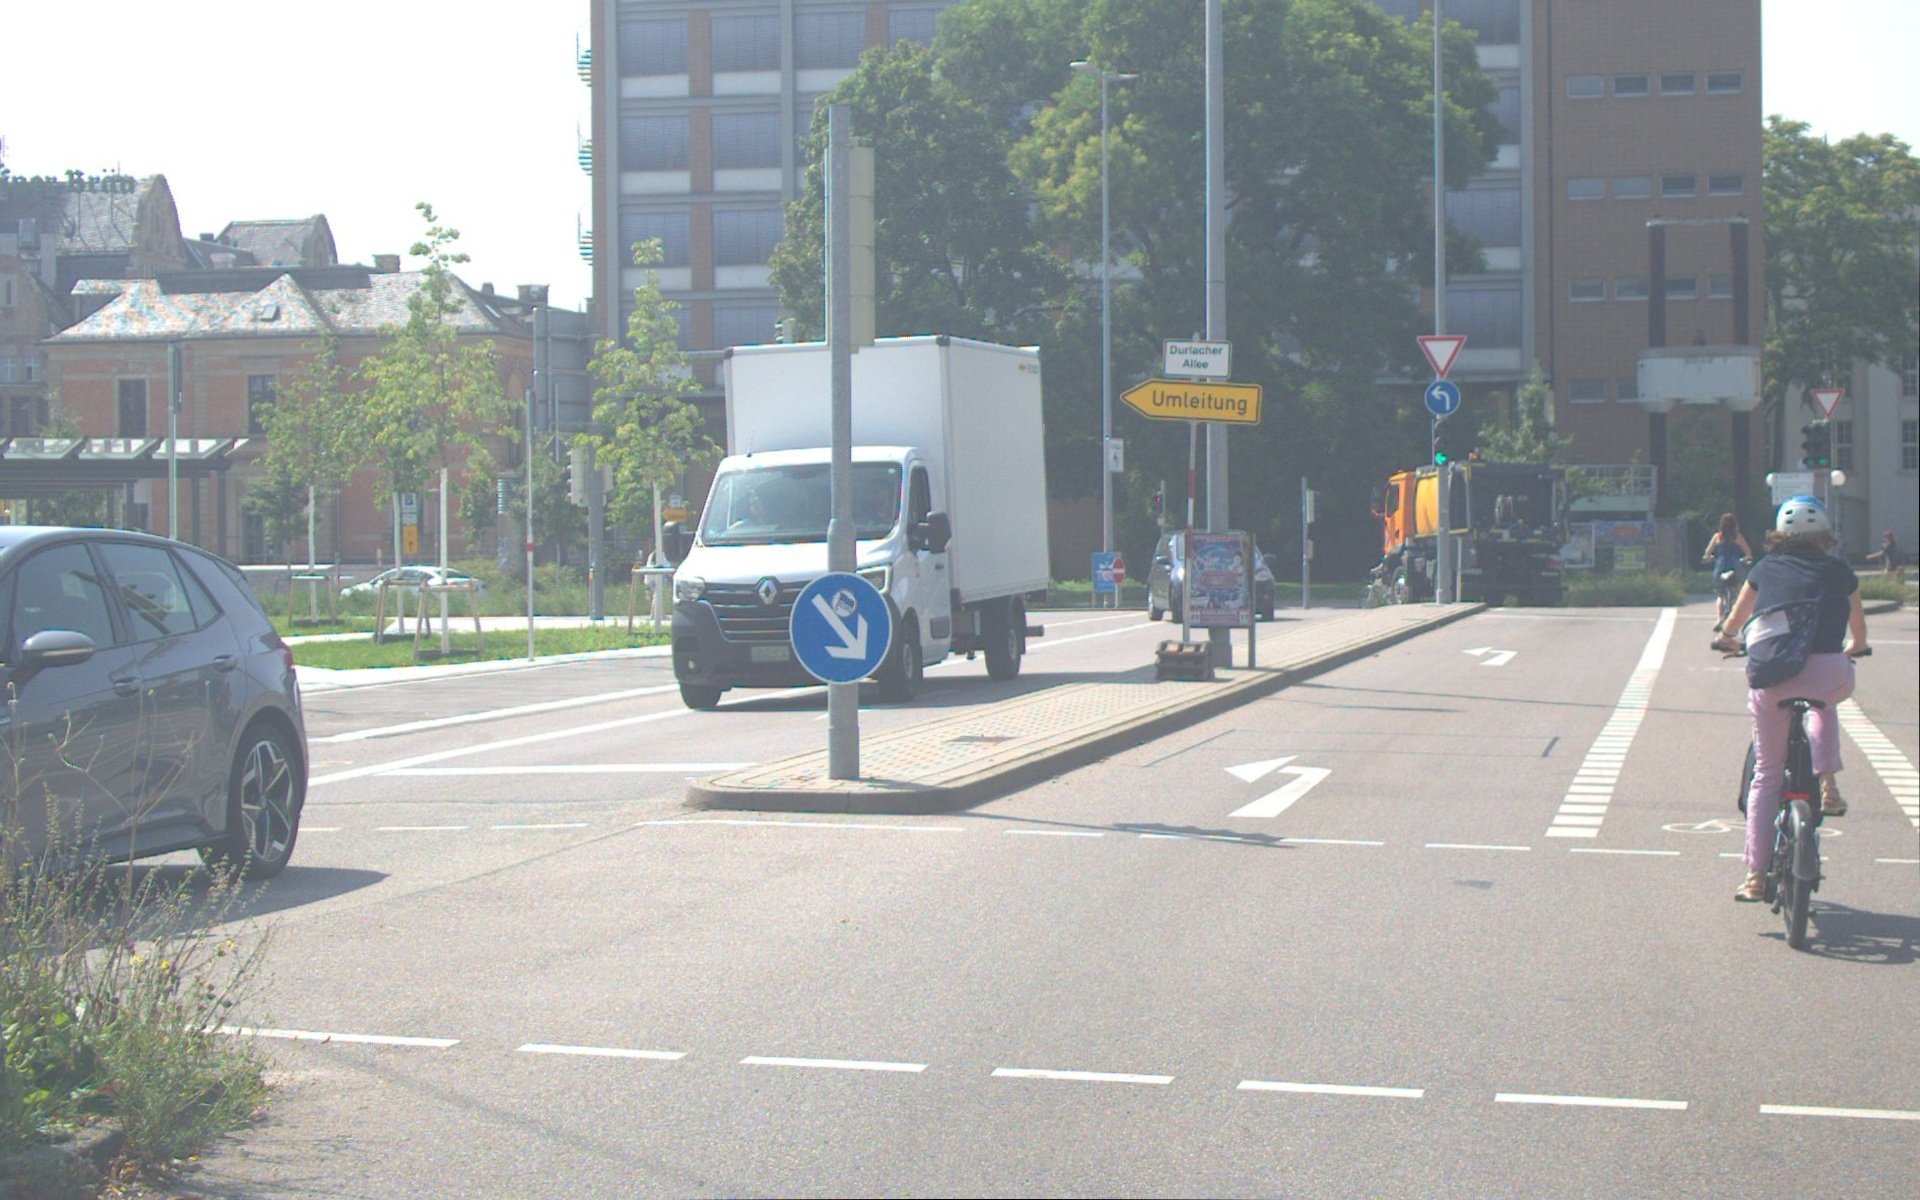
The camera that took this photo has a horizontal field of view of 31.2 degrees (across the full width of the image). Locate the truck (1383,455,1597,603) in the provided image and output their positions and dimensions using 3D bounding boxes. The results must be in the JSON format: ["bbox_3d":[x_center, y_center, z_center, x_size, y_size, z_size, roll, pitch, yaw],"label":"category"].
[{"bbox_3d":[11.125,-1.470,72.724,2.695,2.979,5.968,0,1,-10],"label":"truck"}]

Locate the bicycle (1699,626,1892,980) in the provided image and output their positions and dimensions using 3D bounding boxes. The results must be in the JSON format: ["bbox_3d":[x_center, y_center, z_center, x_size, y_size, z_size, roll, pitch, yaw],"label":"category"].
[{"bbox_3d":[3.058,0.702,12.694,0.604,1.159,1.810,0,1,11],"label":"bicycle"}]

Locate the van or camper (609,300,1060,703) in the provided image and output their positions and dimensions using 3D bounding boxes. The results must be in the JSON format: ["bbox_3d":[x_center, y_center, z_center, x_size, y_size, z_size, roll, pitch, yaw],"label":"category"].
[{"bbox_3d":[-0.948,-0.873,31.855,2.401,3.295,7.186,0,1,13],"label":"van or camper"}]

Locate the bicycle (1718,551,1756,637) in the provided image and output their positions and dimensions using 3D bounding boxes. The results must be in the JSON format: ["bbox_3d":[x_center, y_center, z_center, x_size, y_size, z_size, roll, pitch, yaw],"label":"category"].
[{"bbox_3d":[10.385,-0.088,45.990,0.444,1.113,1.445,-1,1,11],"label":"bicycle"}]

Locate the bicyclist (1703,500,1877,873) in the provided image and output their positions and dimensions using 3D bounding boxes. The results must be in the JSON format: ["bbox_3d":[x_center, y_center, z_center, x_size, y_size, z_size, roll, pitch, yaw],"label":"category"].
[{"bbox_3d":[3.044,0.304,12.648,0.603,1.330,0.659,0,1,12],"label":"bicyclist"}]

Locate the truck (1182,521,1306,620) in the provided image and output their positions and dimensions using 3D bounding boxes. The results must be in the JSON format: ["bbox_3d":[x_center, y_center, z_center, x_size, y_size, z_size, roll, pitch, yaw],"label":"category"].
[{"bbox_3d":[4.529,-0.487,54.475,1.555,1.499,3.619,-1,1,11],"label":"truck"}]

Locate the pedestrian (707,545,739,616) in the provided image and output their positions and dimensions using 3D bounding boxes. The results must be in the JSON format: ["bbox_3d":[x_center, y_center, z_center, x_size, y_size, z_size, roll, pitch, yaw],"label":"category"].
[{"bbox_3d":[-5.199,-0.434,75.436,0.529,1.547,0.417,-1,1,-33],"label":"pedestrian"}]

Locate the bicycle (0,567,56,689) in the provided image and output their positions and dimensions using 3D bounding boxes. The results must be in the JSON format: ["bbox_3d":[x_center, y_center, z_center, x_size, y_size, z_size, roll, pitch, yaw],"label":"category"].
[{"bbox_3d":[-9.686,0.274,35.427,0.604,1.206,1.811,-1,1,-12],"label":"bicycle"}]

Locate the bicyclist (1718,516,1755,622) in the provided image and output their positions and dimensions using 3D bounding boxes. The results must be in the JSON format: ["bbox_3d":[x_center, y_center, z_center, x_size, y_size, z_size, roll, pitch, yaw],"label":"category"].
[{"bbox_3d":[10.408,-0.416,46.096,0.450,1.416,0.495,-1,1,11],"label":"bicyclist"}]

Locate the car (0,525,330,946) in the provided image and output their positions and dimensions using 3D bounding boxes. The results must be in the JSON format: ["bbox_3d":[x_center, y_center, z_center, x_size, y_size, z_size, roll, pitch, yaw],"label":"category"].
[{"bbox_3d":[-4.113,0.477,13.523,1.697,1.525,4.181,0,1,13],"label":"car"}]
